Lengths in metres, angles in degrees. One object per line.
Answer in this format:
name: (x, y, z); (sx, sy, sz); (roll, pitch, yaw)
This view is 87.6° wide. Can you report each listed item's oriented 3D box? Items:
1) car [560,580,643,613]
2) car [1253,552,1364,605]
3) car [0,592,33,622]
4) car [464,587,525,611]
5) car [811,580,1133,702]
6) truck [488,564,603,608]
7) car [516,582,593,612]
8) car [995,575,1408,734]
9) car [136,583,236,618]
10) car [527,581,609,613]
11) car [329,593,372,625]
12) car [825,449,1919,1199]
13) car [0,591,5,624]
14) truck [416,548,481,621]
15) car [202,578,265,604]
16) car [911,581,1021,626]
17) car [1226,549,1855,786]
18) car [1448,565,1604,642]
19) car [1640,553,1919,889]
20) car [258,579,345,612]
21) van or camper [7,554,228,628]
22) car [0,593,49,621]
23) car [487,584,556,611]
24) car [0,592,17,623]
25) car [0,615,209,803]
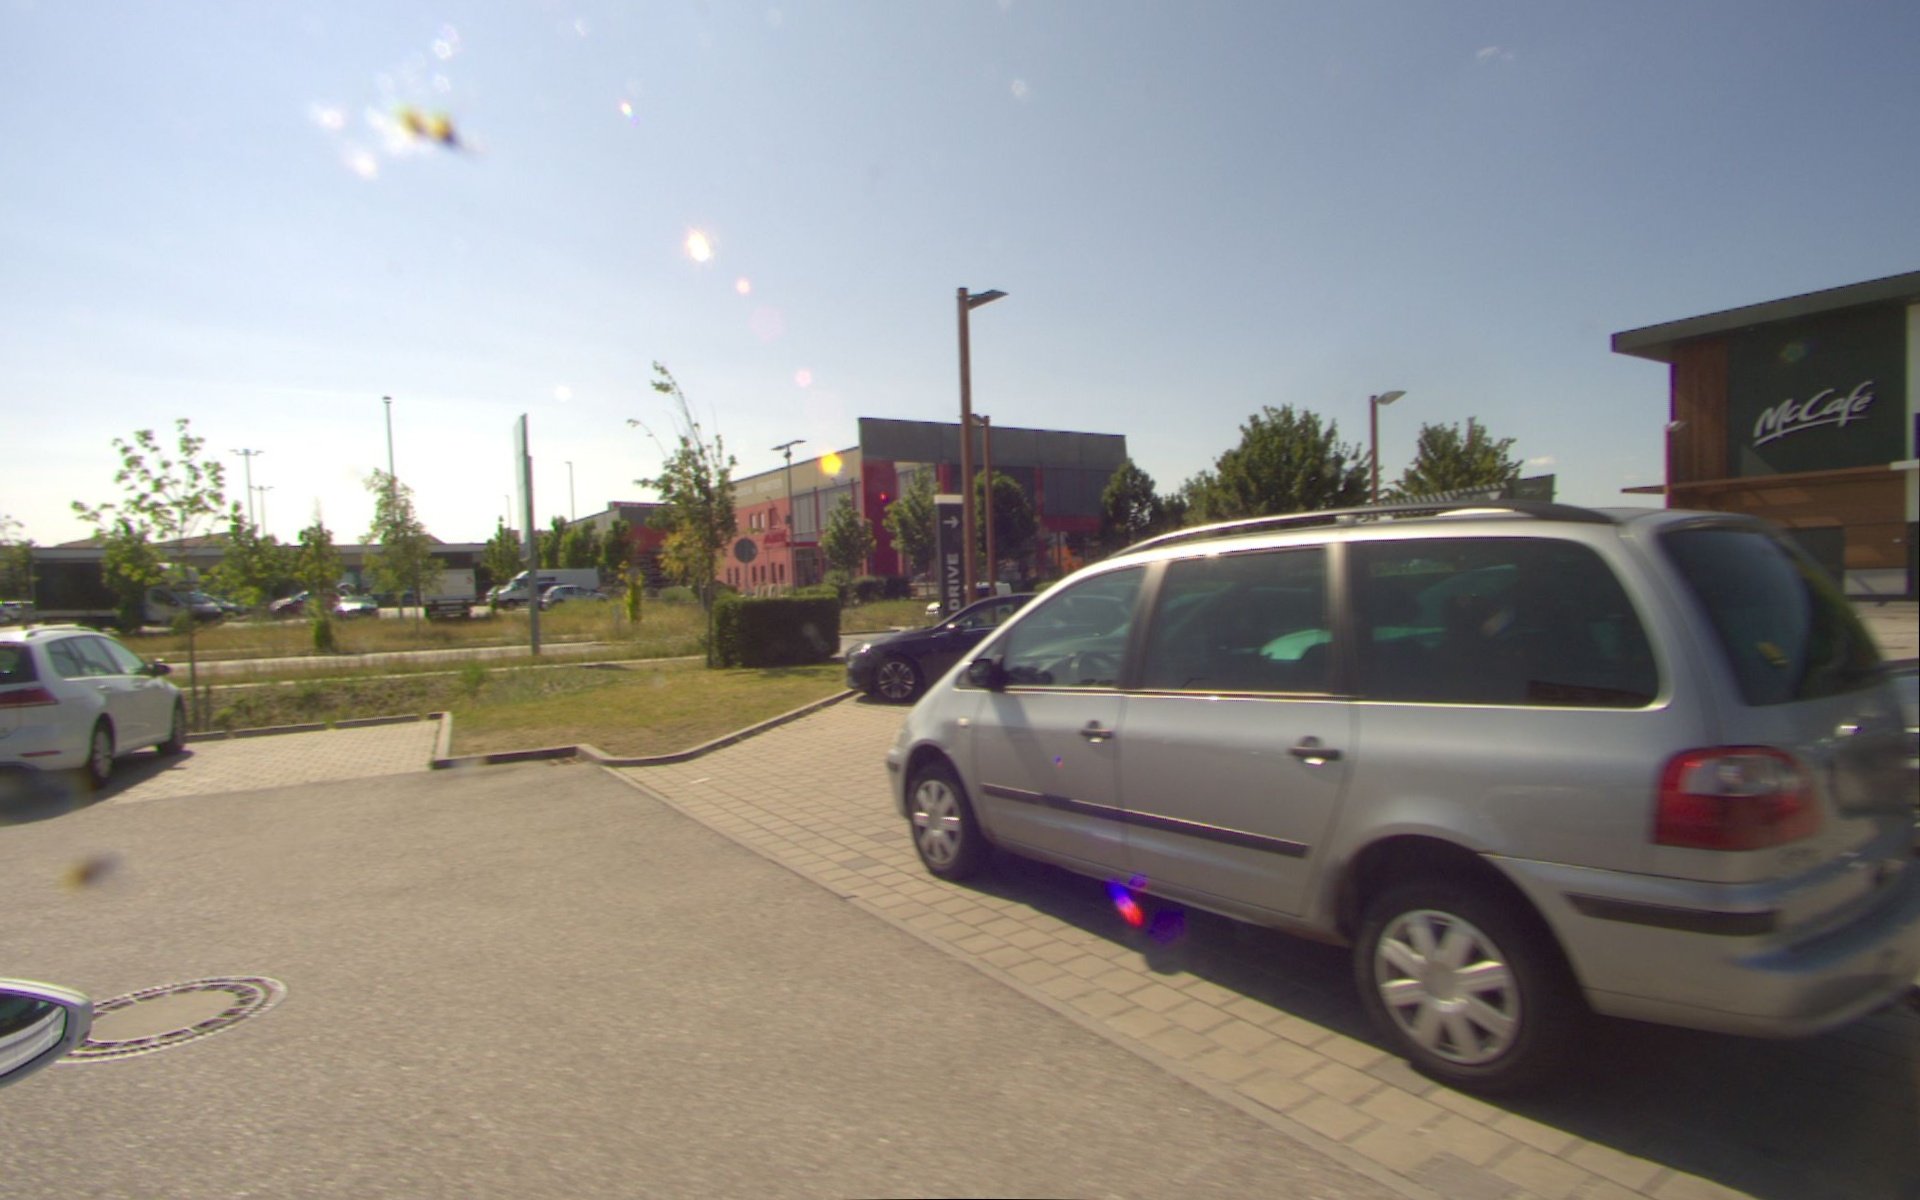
car: (-21.470, -0.218, 60.041); (4.347, 1.880, 1.942); (-2, 1, -35)
car: (15.358, -0.964, 43.988); (5.037, 2.227, 1.987); (-2, 1, -34)
car: (-61.603, 0.482, 63.143); (4.347, 1.880, 1.942); (-2, 1, -35)
car: (-39.157, -0.098, 84.221); (4.347, 1.880, 1.942); (-2, 1, -35)
car: (0.268, 0.543, 14.112); (4.250, 1.547, 1.973); (-1, 2, 10)
truck: (-28.159, -0.963, 68.225); (6.965, 2.852, 1.942); (-2, 1, -35)
car: (-26.650, -0.194, 65.850); (4.347, 1.880, 1.942); (-2, 1, -35)
car: (2.471, 0.544, 11.110); (4.125, 1.547, 1.975); (-1, 1, 3)
car: (-48.710, 0.023, 63.092); (4.874, 2.041, 2.065); (-2, 1, -39)
car: (-24.059, -0.190, 61.551); (4.347, 1.880, 1.942); (-2, 1, -35)
car: (-30.547, 0.424, 50.267); (1.631, 1.479, 3.946); (-2, 1, -29)
car: (1.264, 0.538, 4.651); (1.809, 1.772, 4.651); (-3, 1, -35)
car: (-57.670, 0.484, 57.102); (4.347, 1.880, 1.942); (-2, 1, -35)
truck: (-26.580, -0.789, 51.911); (2.727, 3.528, 6.798); (-2, 1, -29)
car: (-59.306, -0.713, 81.813); (3.944, 2.041, 1.988); (-2, 1, -32)
car: (0.309, 0.143, 46.953); (4.821, 1.980, 1.870); (-1, 1, -28)
car: (4.564, 0.486, 8.387); (4.125, 1.677, 1.975); (-1, 1, -1)
car: (14.030, 0.026, 24.745); (4.186, 1.714, 1.980); (-2, 2, -39)
car: (6.718, 0.509, 5.326); (4.752, 1.547, 1.974); (-1, 1, 7)
car: (-39.223, -0.267, 59.693); (4.211, 1.880, 1.857); (-2, 1, -35)
van or camper: (-38.338, -0.399, 45.740); (7.898, 3.144, 2.418); (-1, 1, -1)
car: (-65.007, 0.485, 67.995); (4.347, 1.880, 1.942); (-2, 1, -35)
car: (-32.358, -0.189, 73.971); (4.347, 1.880, 1.942); (-2, 1, -35)
car: (-60.643, 0.491, 60.967); (4.347, 1.880, 1.942); (-2, 1, -35)
car: (-9.083, 0.937, 9.836); (1.804, 1.488, 4.464); (-2, 0, -25)
